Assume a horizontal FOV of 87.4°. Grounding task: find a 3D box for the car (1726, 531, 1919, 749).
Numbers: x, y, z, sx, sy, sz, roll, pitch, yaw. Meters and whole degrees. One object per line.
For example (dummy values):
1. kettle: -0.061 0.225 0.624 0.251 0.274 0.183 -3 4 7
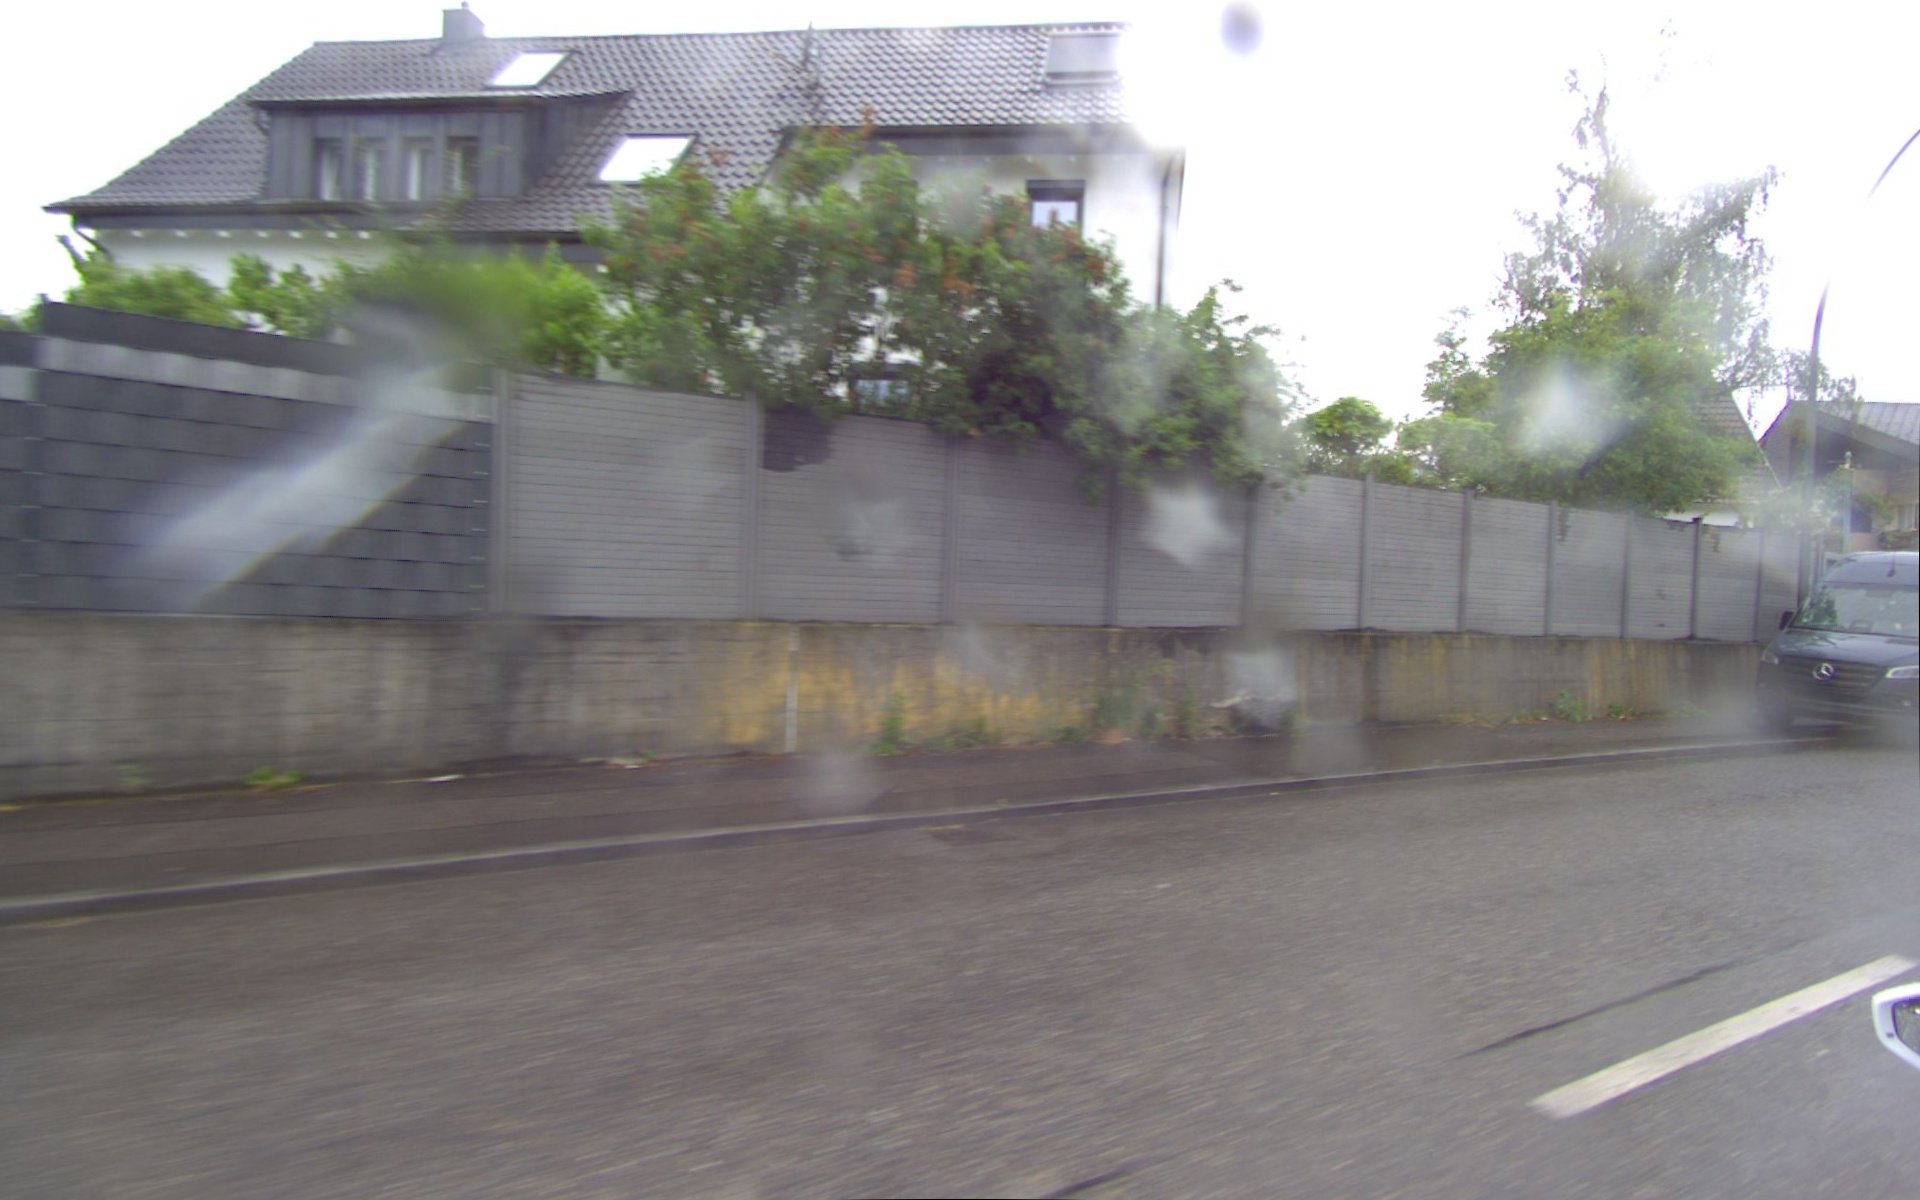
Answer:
1. car: 13.991 0.541 14.680 5.843 2.684 2.086 2 1 -28
